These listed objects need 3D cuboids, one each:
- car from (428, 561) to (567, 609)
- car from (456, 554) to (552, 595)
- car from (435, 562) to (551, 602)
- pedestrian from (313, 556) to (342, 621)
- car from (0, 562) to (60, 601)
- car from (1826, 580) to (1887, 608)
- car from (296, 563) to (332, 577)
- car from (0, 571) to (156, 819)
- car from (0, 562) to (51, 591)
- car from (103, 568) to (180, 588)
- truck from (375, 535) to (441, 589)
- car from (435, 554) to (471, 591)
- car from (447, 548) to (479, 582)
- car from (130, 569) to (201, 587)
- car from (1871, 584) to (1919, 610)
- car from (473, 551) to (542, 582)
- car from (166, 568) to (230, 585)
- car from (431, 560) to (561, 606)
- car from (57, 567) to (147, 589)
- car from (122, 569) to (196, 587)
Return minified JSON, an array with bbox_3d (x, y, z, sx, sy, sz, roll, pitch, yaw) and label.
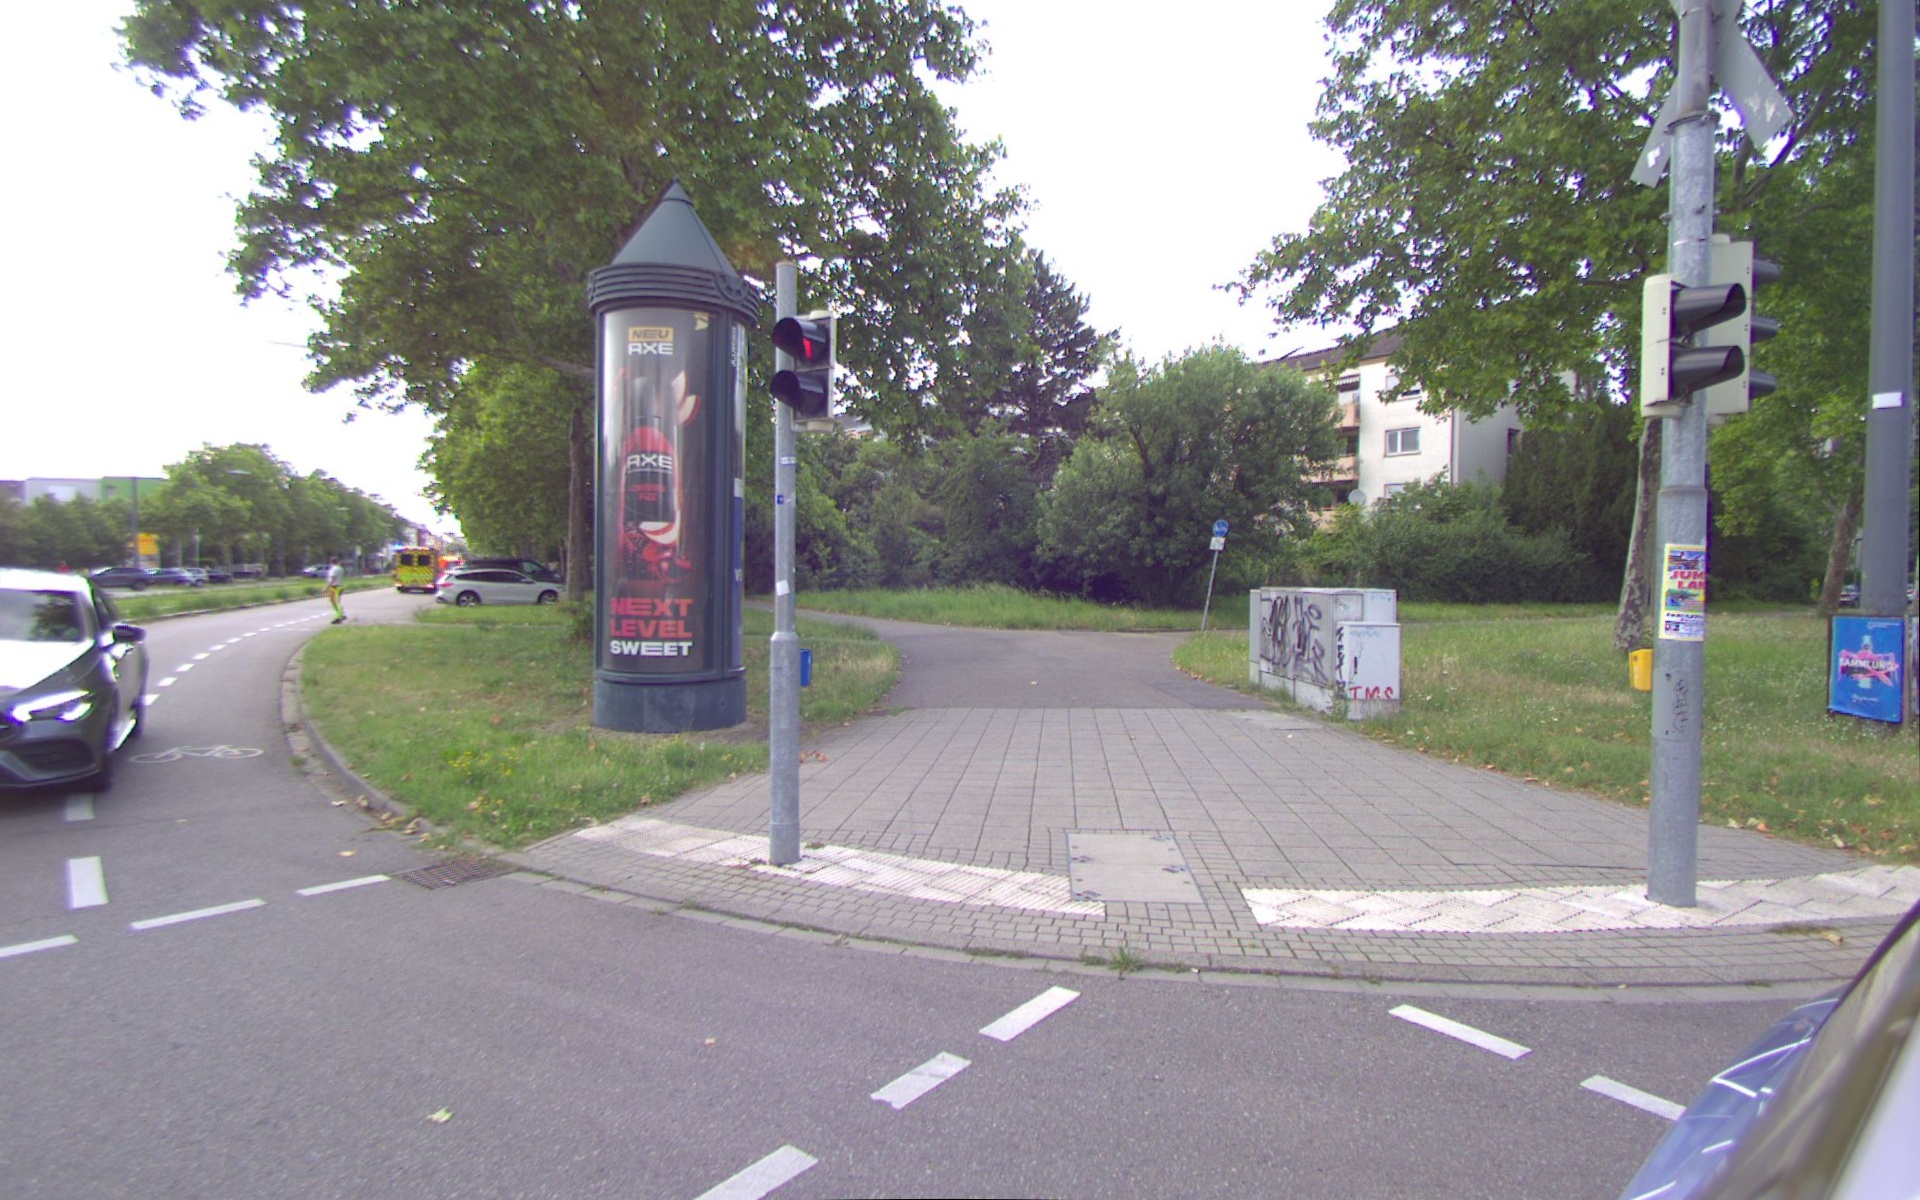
[{"bbox_3d":[-16.694,-0.542,36.604,4.450,1.665,2.003,-1,0,-27],"label":"car"},{"bbox_3d":[-23.708,-1.318,52.707,4.462,2.039,2.004,-1,1,-24],"label":"car"},{"bbox_3d":[-20.096,-0.775,43.602,4.450,1.665,2.003,-1,0,-27],"label":"car"},{"bbox_3d":[-16.768,-0.301,26.834,0.575,1.705,0.495,0,0,-26],"label":"pedestrian"},{"bbox_3d":[-41.805,-0.845,44.420,1.862,1.649,4.325,0,1,-19],"label":"car"},{"bbox_3d":[55.198,-0.369,62.317,3.583,1.616,1.779,2,0,-30],"label":"car"},{"bbox_3d":[-93.397,-4.268,146.324,1.809,1.861,3.951,2,0,34],"label":"car"},{"bbox_3d":[-7.258,0.505,7.536,1.806,1.411,4.605,2,0,-37],"label":"car"},{"bbox_3d":[-52.223,-1.284,54.986,1.854,1.522,4.105,2,1,43],"label":"car"},{"bbox_3d":[-60.685,-1.647,75.046,1.896,1.380,4.249,2,2,43],"label":"car"},{"bbox_3d":[-36.084,-2.471,66.422,3.127,3.358,7.539,0,2,-23],"label":"truck"},{"bbox_3d":[-48.603,-2.635,97.210,2.913,3.359,7.472,2,0,-26],"label":"car"},{"bbox_3d":[-53.406,-3.688,108.871,2.913,3.372,7.472,2,0,-26],"label":"car"},{"bbox_3d":[-63.115,-1.758,80.445,1.896,1.380,4.249,2,2,43],"label":"car"},{"bbox_3d":[62.592,-0.161,67.427,3.583,1.616,1.779,2,0,-30],"label":"car"},{"bbox_3d":[-55.056,-4.053,123.113,7.308,3.372,2.979,2,0,-30],"label":"car"},{"bbox_3d":[-66.457,-2.062,88.327,1.896,1.380,4.249,2,2,43],"label":"car"},{"bbox_3d":[-17.811,-0.655,38.940,4.450,1.665,2.003,-1,0,-27],"label":"car"},{"bbox_3d":[-55.846,-1.443,65.930,1.894,1.380,4.251,2,2,41],"label":"car"},{"bbox_3d":[-61.846,-1.705,78.174,1.896,1.380,4.249,2,2,43],"label":"car"}]
